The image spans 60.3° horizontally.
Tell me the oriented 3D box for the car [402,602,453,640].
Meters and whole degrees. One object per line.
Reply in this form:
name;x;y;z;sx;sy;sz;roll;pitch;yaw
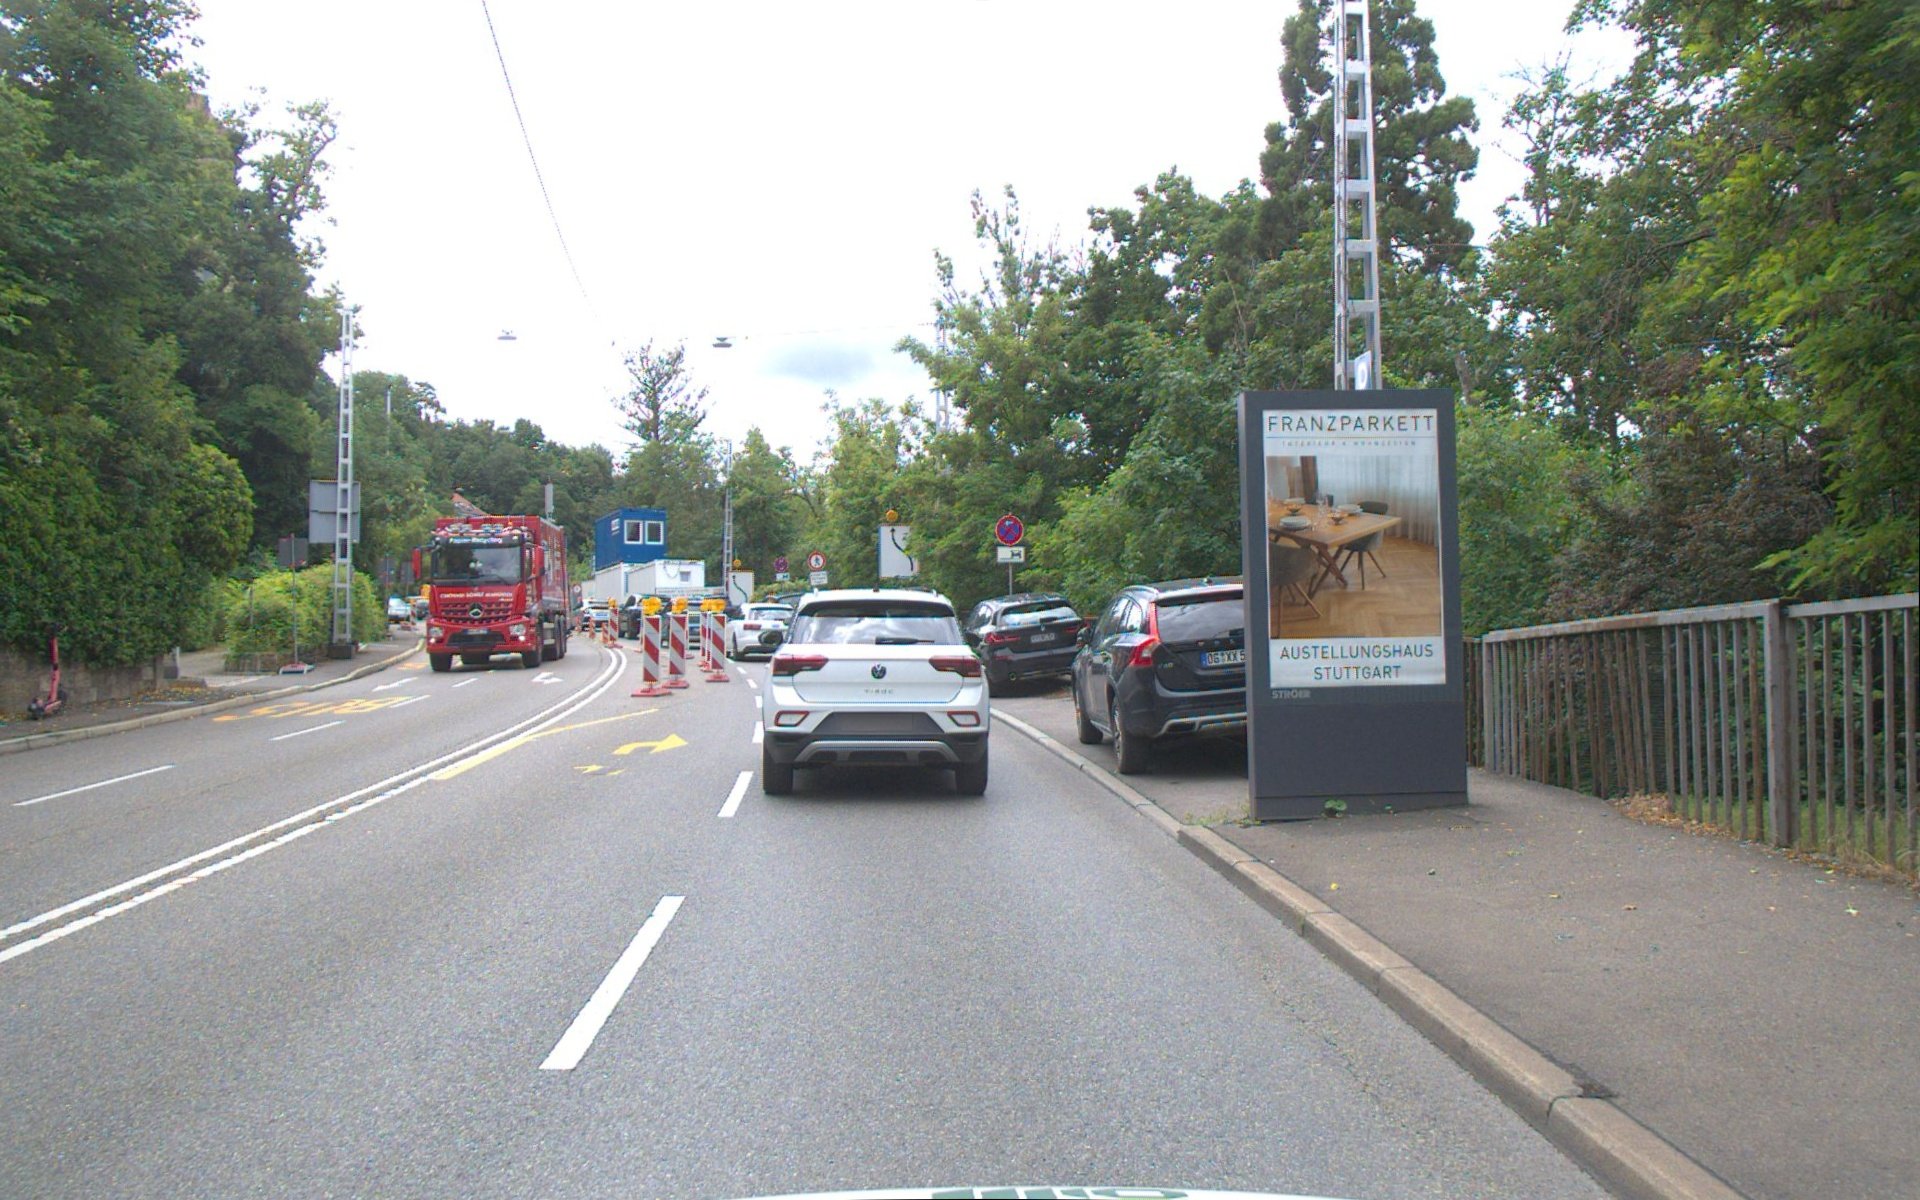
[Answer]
car;-21.752;0.836;67.509;1.867;1.406;3.977;-2;0;-19

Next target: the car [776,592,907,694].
car;-2.124;0.691;28.741;1.727;1.638;3.783;0;0;-13

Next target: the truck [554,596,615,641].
truck;-13.204;0.632;58.046;1.637;1.468;4.003;-1;0;-19

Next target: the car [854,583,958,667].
car;-1.374;0.585;40.506;1.818;1.684;4.133;-9;1;-9

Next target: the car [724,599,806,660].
car;-5.128;0.738;43.130;1.727;1.497;3.783;0;0;-13

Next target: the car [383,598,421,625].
car;-32.395;0.672;95.983;1.868;1.520;3.975;-1;0;-21

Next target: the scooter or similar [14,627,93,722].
scooter or similar;-12.171;0.985;22.236;0.528;1.226;1.276;1;-1;-11

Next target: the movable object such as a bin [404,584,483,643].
movable object such as a bin;-35.024;0.911;112.023;3.495;3.764;7.417;-1;0;-30

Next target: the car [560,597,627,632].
car;-16.800;0.673;75.671;1.971;1.475;4.112;-1;-1;-28

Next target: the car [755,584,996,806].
car;-0.648;0.688;13.793;1.722;1.583;3.794;0;0;-1

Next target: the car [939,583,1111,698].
car;0.929;0.589;26.146;1.775;1.488;4.184;-6;1;-9

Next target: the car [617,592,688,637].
car;-11.720;0.518;62.829;1.965;1.583;4.125;-1;1;-20

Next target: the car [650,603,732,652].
car;-8.707;0.898;53.265;1.963;1.439;4.129;-2;-1;-18

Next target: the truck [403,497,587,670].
truck;-11.603;-0.376;42.281;2.890;3.762;9.903;-3;0;-7
